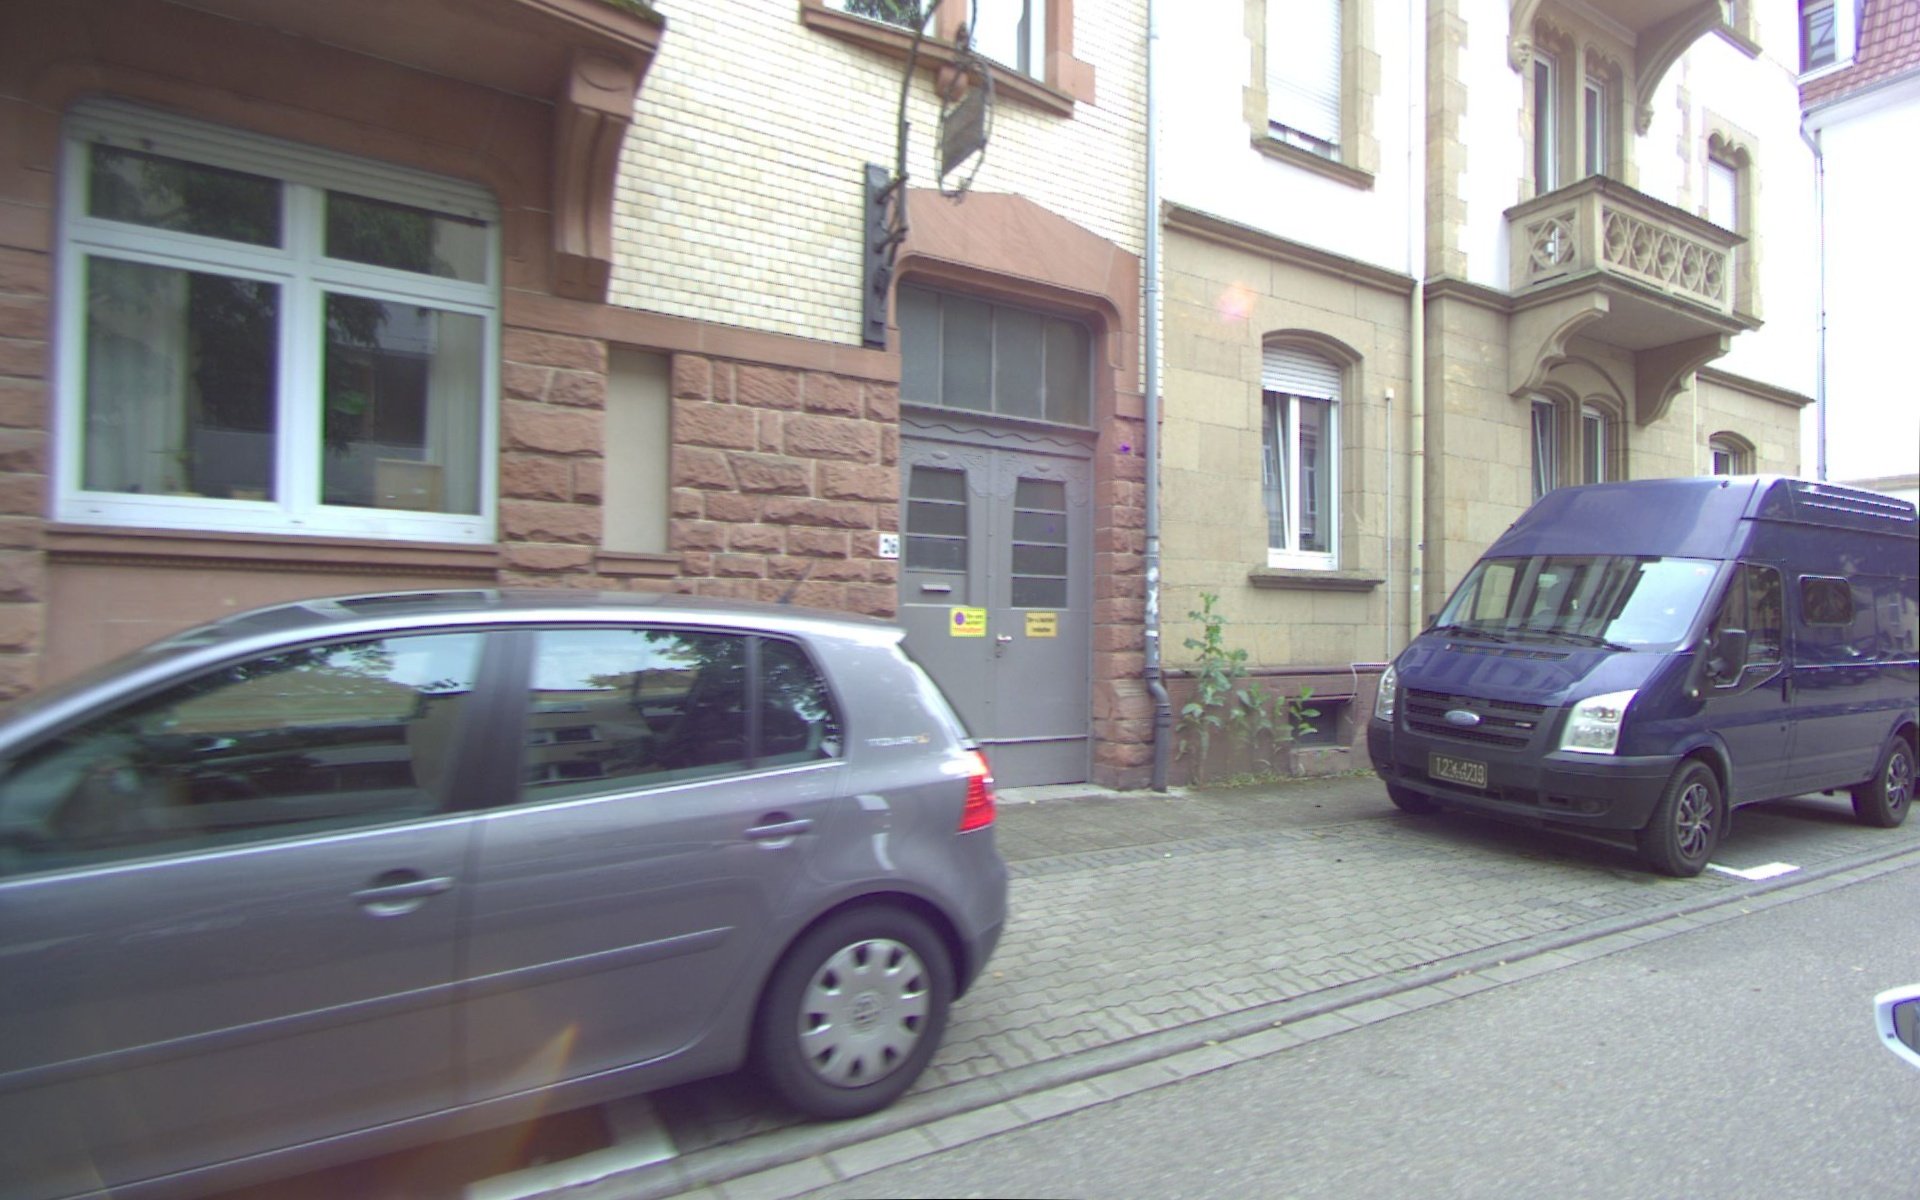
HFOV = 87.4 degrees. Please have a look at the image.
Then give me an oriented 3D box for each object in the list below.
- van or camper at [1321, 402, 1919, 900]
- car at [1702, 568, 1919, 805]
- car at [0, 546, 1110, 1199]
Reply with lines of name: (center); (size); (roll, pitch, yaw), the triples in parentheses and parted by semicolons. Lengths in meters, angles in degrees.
van or camper: (5.380, 0.314, 7.633); (5.254, 2.687, 1.998); (2, 1, -31)
car: (10.011, 0.816, 10.468); (4.834, 2.040, 1.984); (2, -2, -31)
car: (-1.663, 0.659, 2.929); (3.954, 1.493, 1.659); (2, 2, -31)
